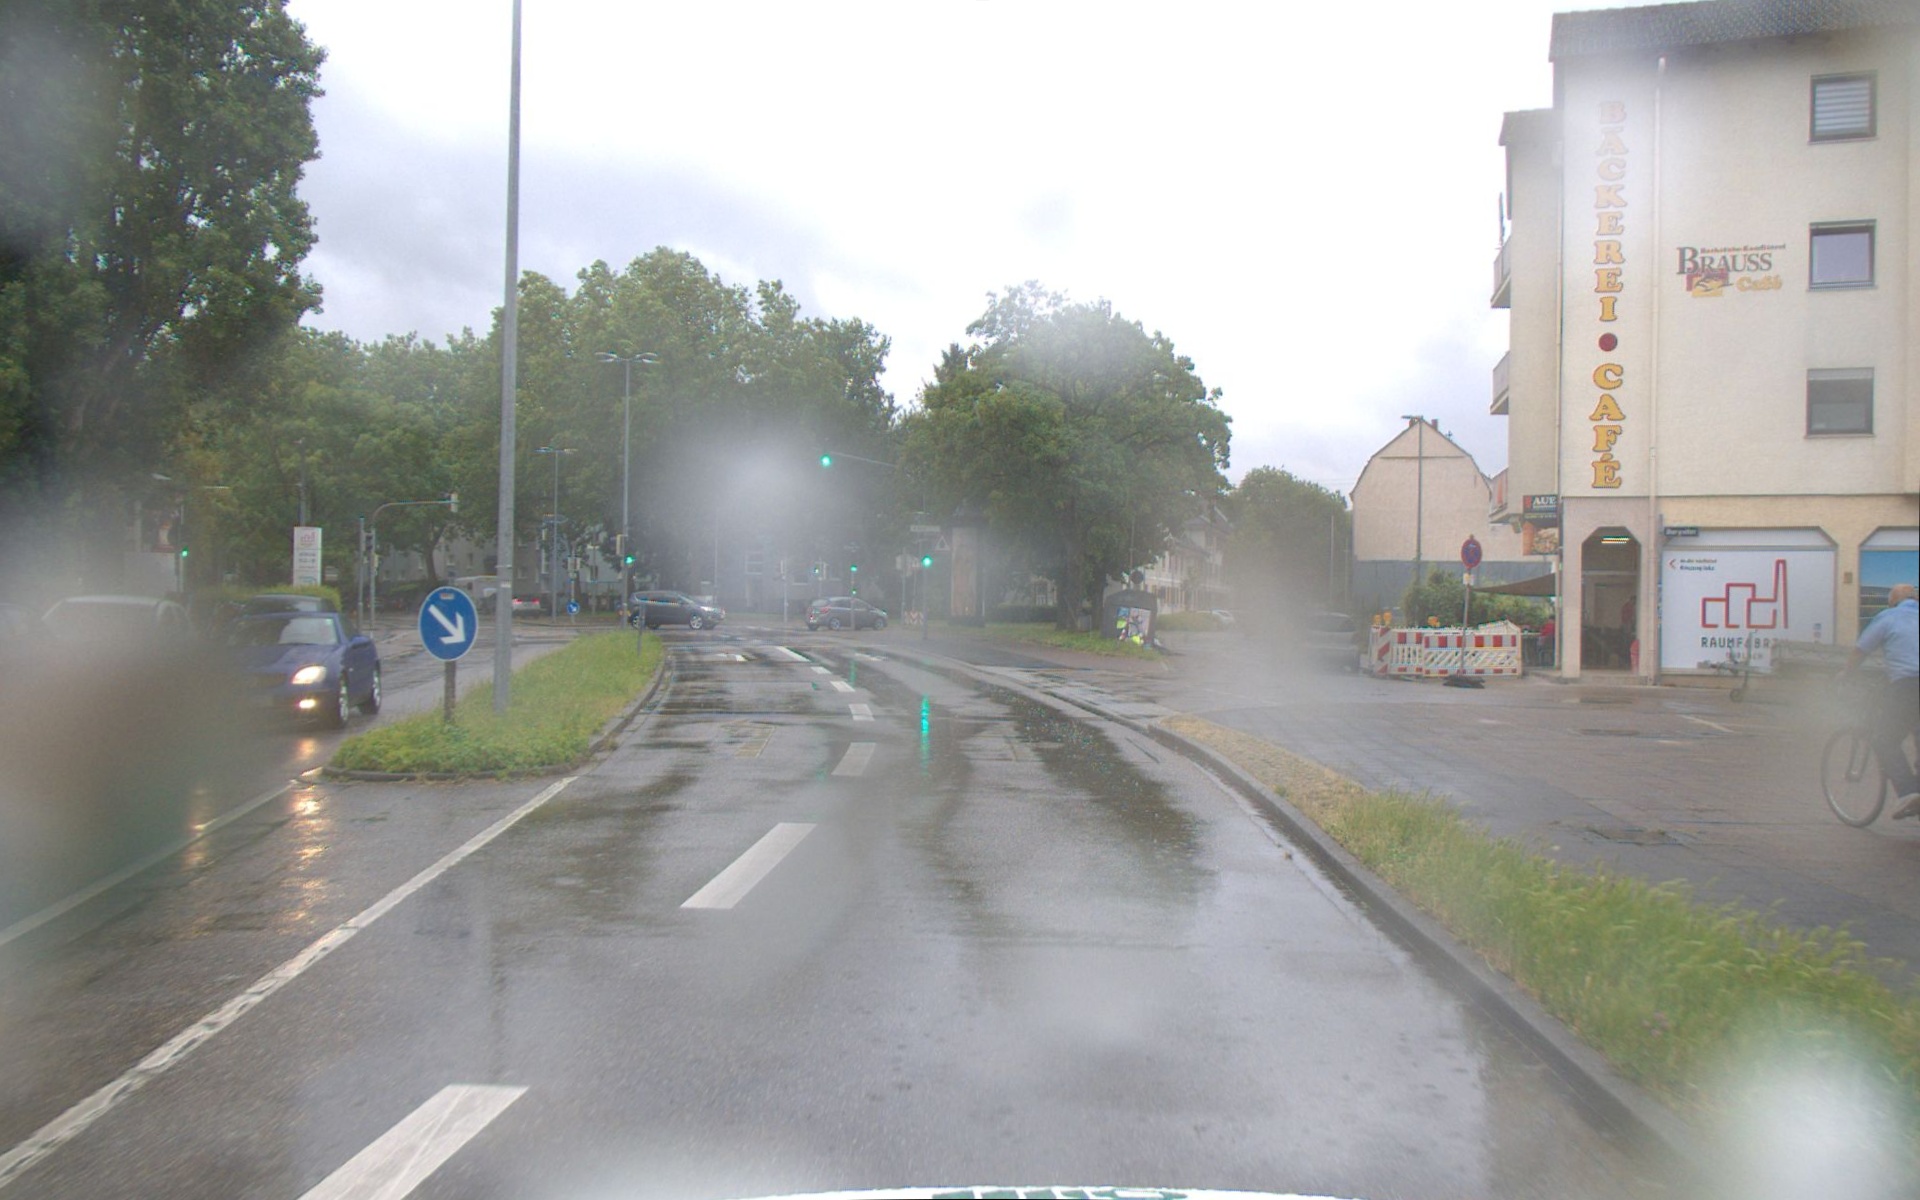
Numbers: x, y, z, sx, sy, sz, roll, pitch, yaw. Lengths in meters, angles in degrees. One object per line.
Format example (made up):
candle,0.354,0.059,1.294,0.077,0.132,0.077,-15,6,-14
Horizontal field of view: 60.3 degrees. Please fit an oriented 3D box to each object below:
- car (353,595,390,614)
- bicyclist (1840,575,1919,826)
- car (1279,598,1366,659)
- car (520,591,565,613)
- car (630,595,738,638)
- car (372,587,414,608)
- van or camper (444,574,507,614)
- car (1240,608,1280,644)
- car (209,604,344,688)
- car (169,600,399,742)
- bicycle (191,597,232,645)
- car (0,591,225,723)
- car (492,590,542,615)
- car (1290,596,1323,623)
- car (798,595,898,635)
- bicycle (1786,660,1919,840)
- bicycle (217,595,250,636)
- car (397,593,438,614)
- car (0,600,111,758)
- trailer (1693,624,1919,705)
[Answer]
car,-46.598,0.369,130.977,1.695,1.436,3.593,-2,2,-39
bicyclist,6.400,0.652,11.023,0.626,1.610,0.715,1,0,-5
car,9.383,0.722,43.070,1.600,1.458,4.178,1,-1,4
car,-28.565,0.141,113.043,1.536,1.414,4.096,2,-1,-36
car,-12.014,0.714,72.120,4.199,1.774,2.002,1,-1,9
car,-47.049,-0.249,137.209,1.904,1.648,4.307,2,-1,-40
van or camper,-36.514,-0.447,124.446,2.302,2.856,6.773,2,-1,-37
car,14.702,1.282,81.061,1.814,1.683,4.308,1,-1,10
car,-12.903,0.828,31.446,1.517,1.422,4.182,2,-1,-11
car,-7.717,0.747,19.249,1.696,1.418,3.939,-2,0,-11
bicycle,-19.185,0.533,42.407,0.686,1.207,1.617,2,-1,-15
car,-10.687,0.671,21.085,1.574,1.500,4.109,2,-1,-13
car,-27.514,0.153,102.600,1.695,1.436,3.593,-2,2,-39
car,29.864,0.813,142.512,2.300,2.247,4.615,1,-1,17
car,-4.934,0.666,73.063,4.052,1.630,1.970,2,-1,-42
bicycle,6.438,0.996,11.086,0.659,1.078,1.970,1,0,-5
bicycle,-20.191,0.422,46.015,0.546,1.096,1.788,2,-1,-15
car,-38.963,0.260,118.767,1.695,1.436,3.593,-2,2,-39
car,-9.773,0.708,15.898,1.696,1.407,4.168,3,-1,-11
trailer,15.238,1.116,28.876,4.428,1.253,1.824,1,-1,23
